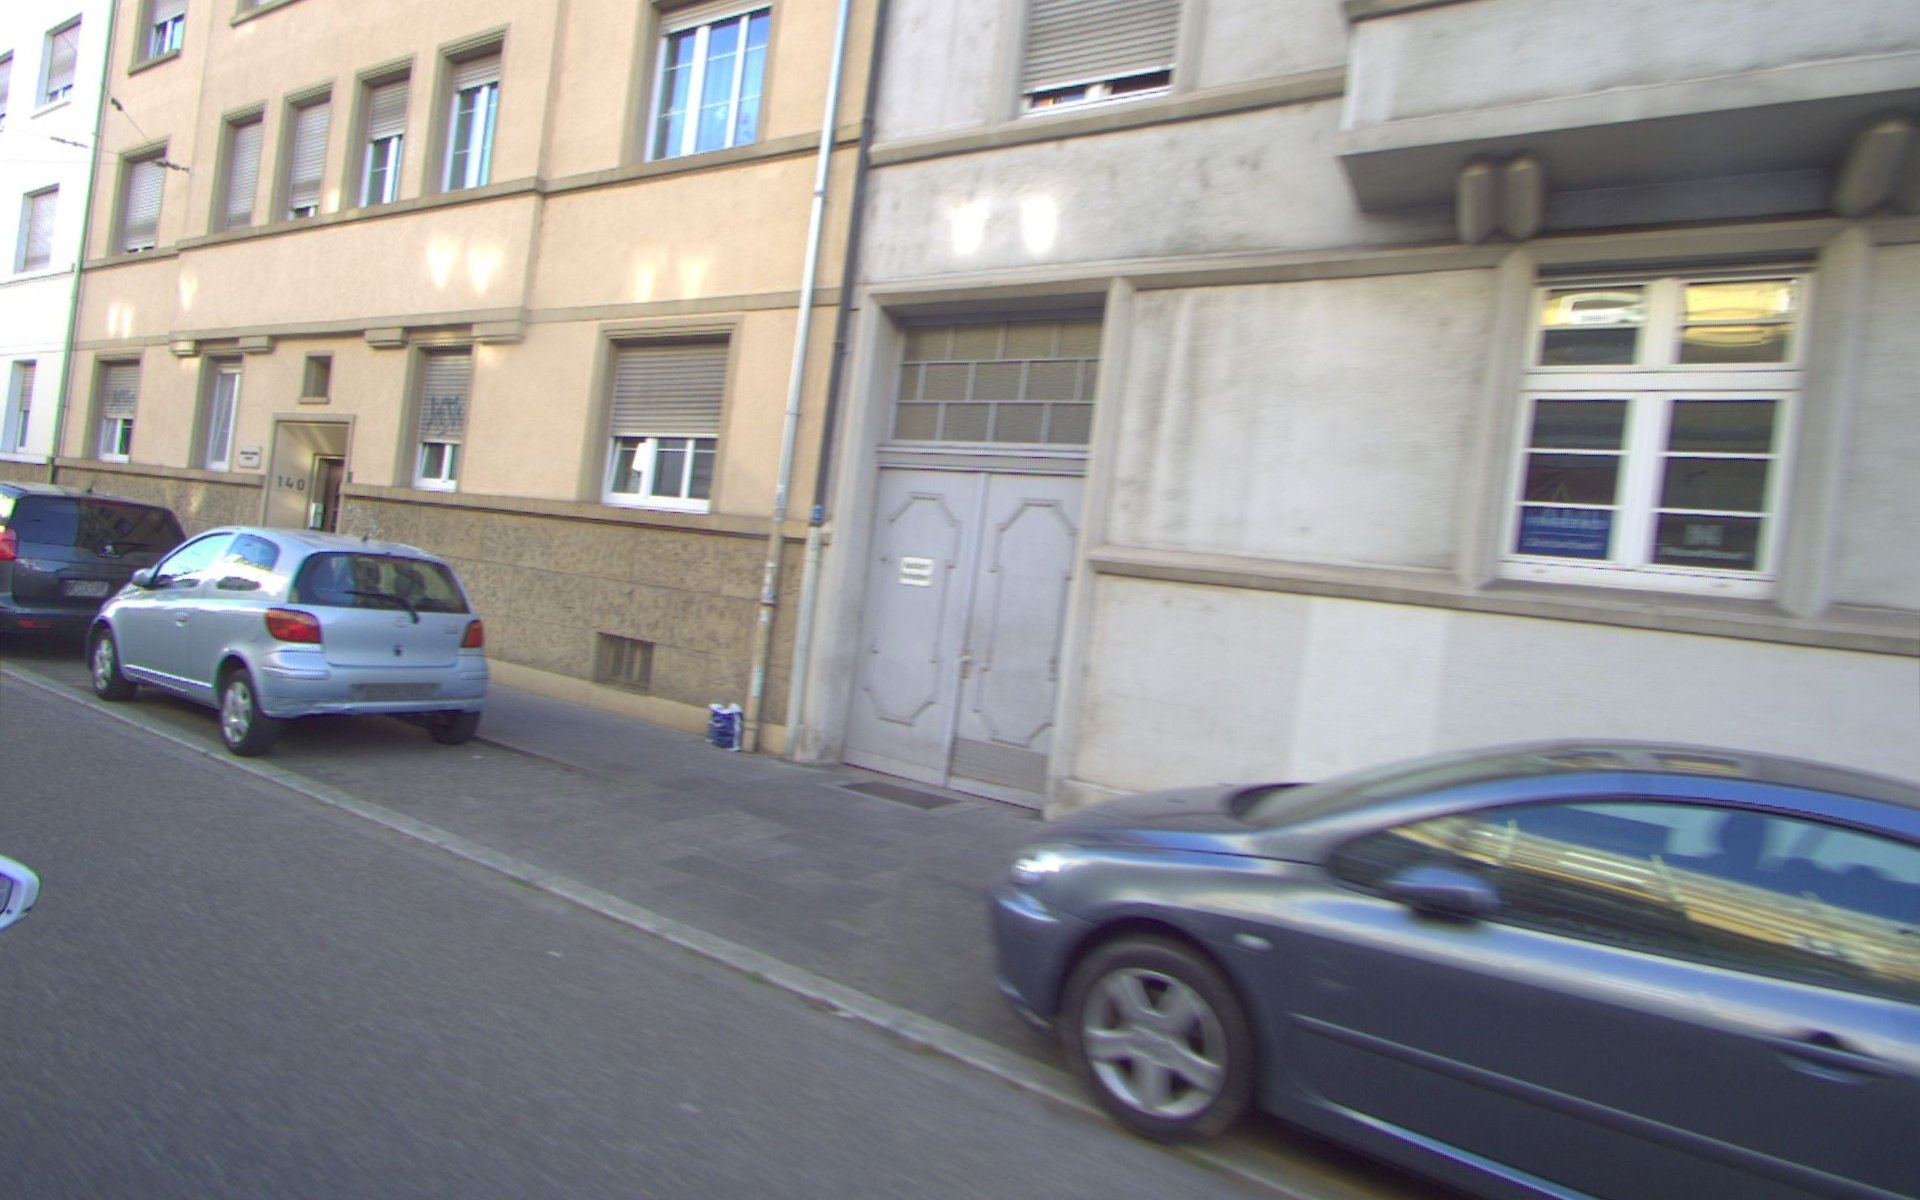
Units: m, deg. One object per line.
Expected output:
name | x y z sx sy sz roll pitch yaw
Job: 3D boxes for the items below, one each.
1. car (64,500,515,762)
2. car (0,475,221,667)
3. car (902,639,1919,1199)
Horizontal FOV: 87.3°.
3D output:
car | -5.318 0.157 7.897 3.422 1.481 1.610 7 1 32
car | -9.912 -0.432 10.570 4.292 1.672 1.792 7 1 30
car | 2.046 1.138 3.185 4.137 1.470 1.700 7 0 33
